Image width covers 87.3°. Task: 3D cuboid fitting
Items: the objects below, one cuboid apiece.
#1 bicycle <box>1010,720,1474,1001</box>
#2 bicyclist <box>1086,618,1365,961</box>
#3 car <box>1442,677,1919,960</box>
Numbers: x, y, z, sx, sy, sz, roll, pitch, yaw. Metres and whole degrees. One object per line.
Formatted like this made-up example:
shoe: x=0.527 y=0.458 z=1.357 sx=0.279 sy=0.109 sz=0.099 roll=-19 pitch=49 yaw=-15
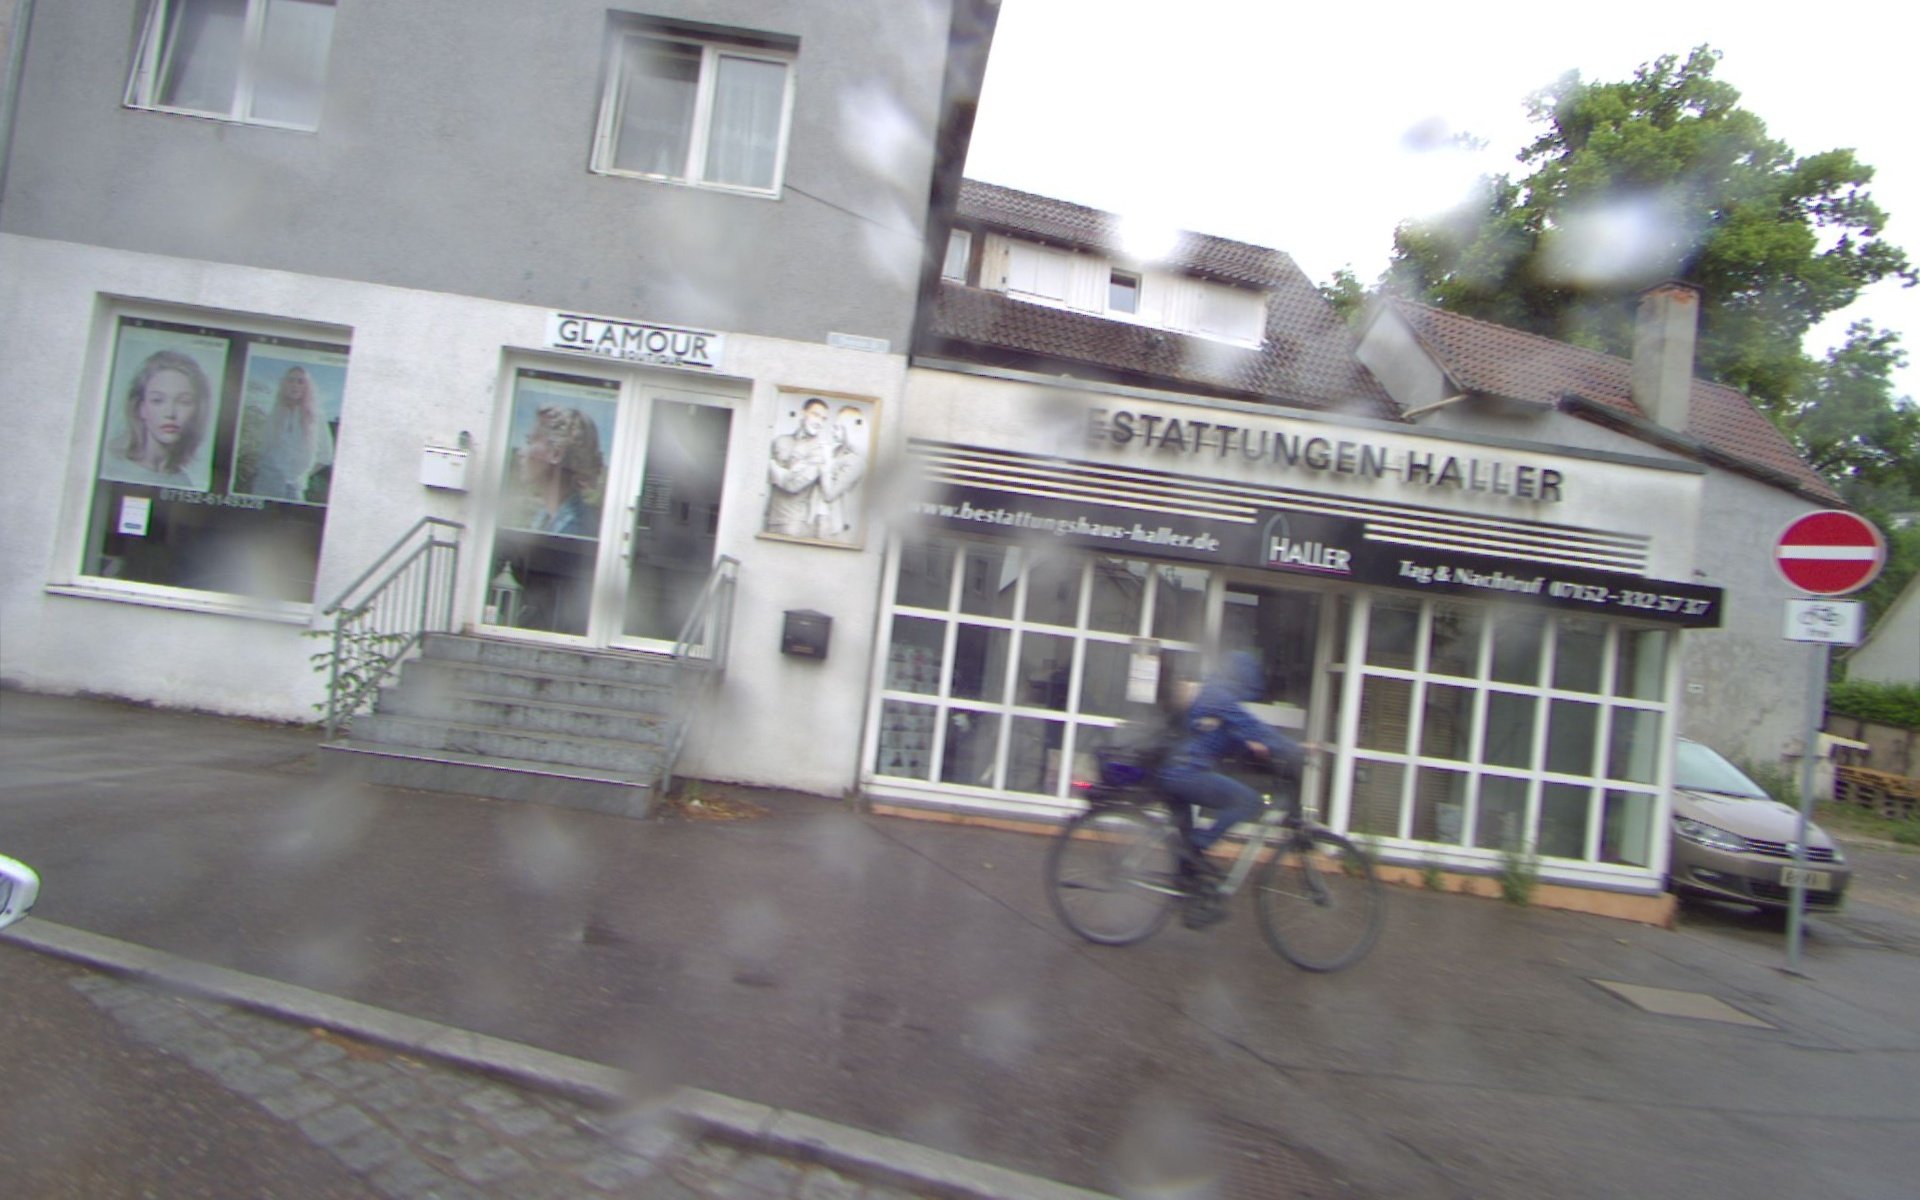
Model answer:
bicycle: x=1.390 y=1.298 z=5.126 sx=2.046 sy=1.046 sz=0.763 roll=8 pitch=-2 yaw=-9
bicyclist: x=1.334 y=0.930 z=5.165 sx=1.013 sy=1.535 sz=0.684 roll=8 pitch=-2 yaw=-10
car: x=7.283 y=2.057 z=10.687 sx=1.965 sy=1.793 sz=3.995 roll=9 pitch=1 yaw=-4
